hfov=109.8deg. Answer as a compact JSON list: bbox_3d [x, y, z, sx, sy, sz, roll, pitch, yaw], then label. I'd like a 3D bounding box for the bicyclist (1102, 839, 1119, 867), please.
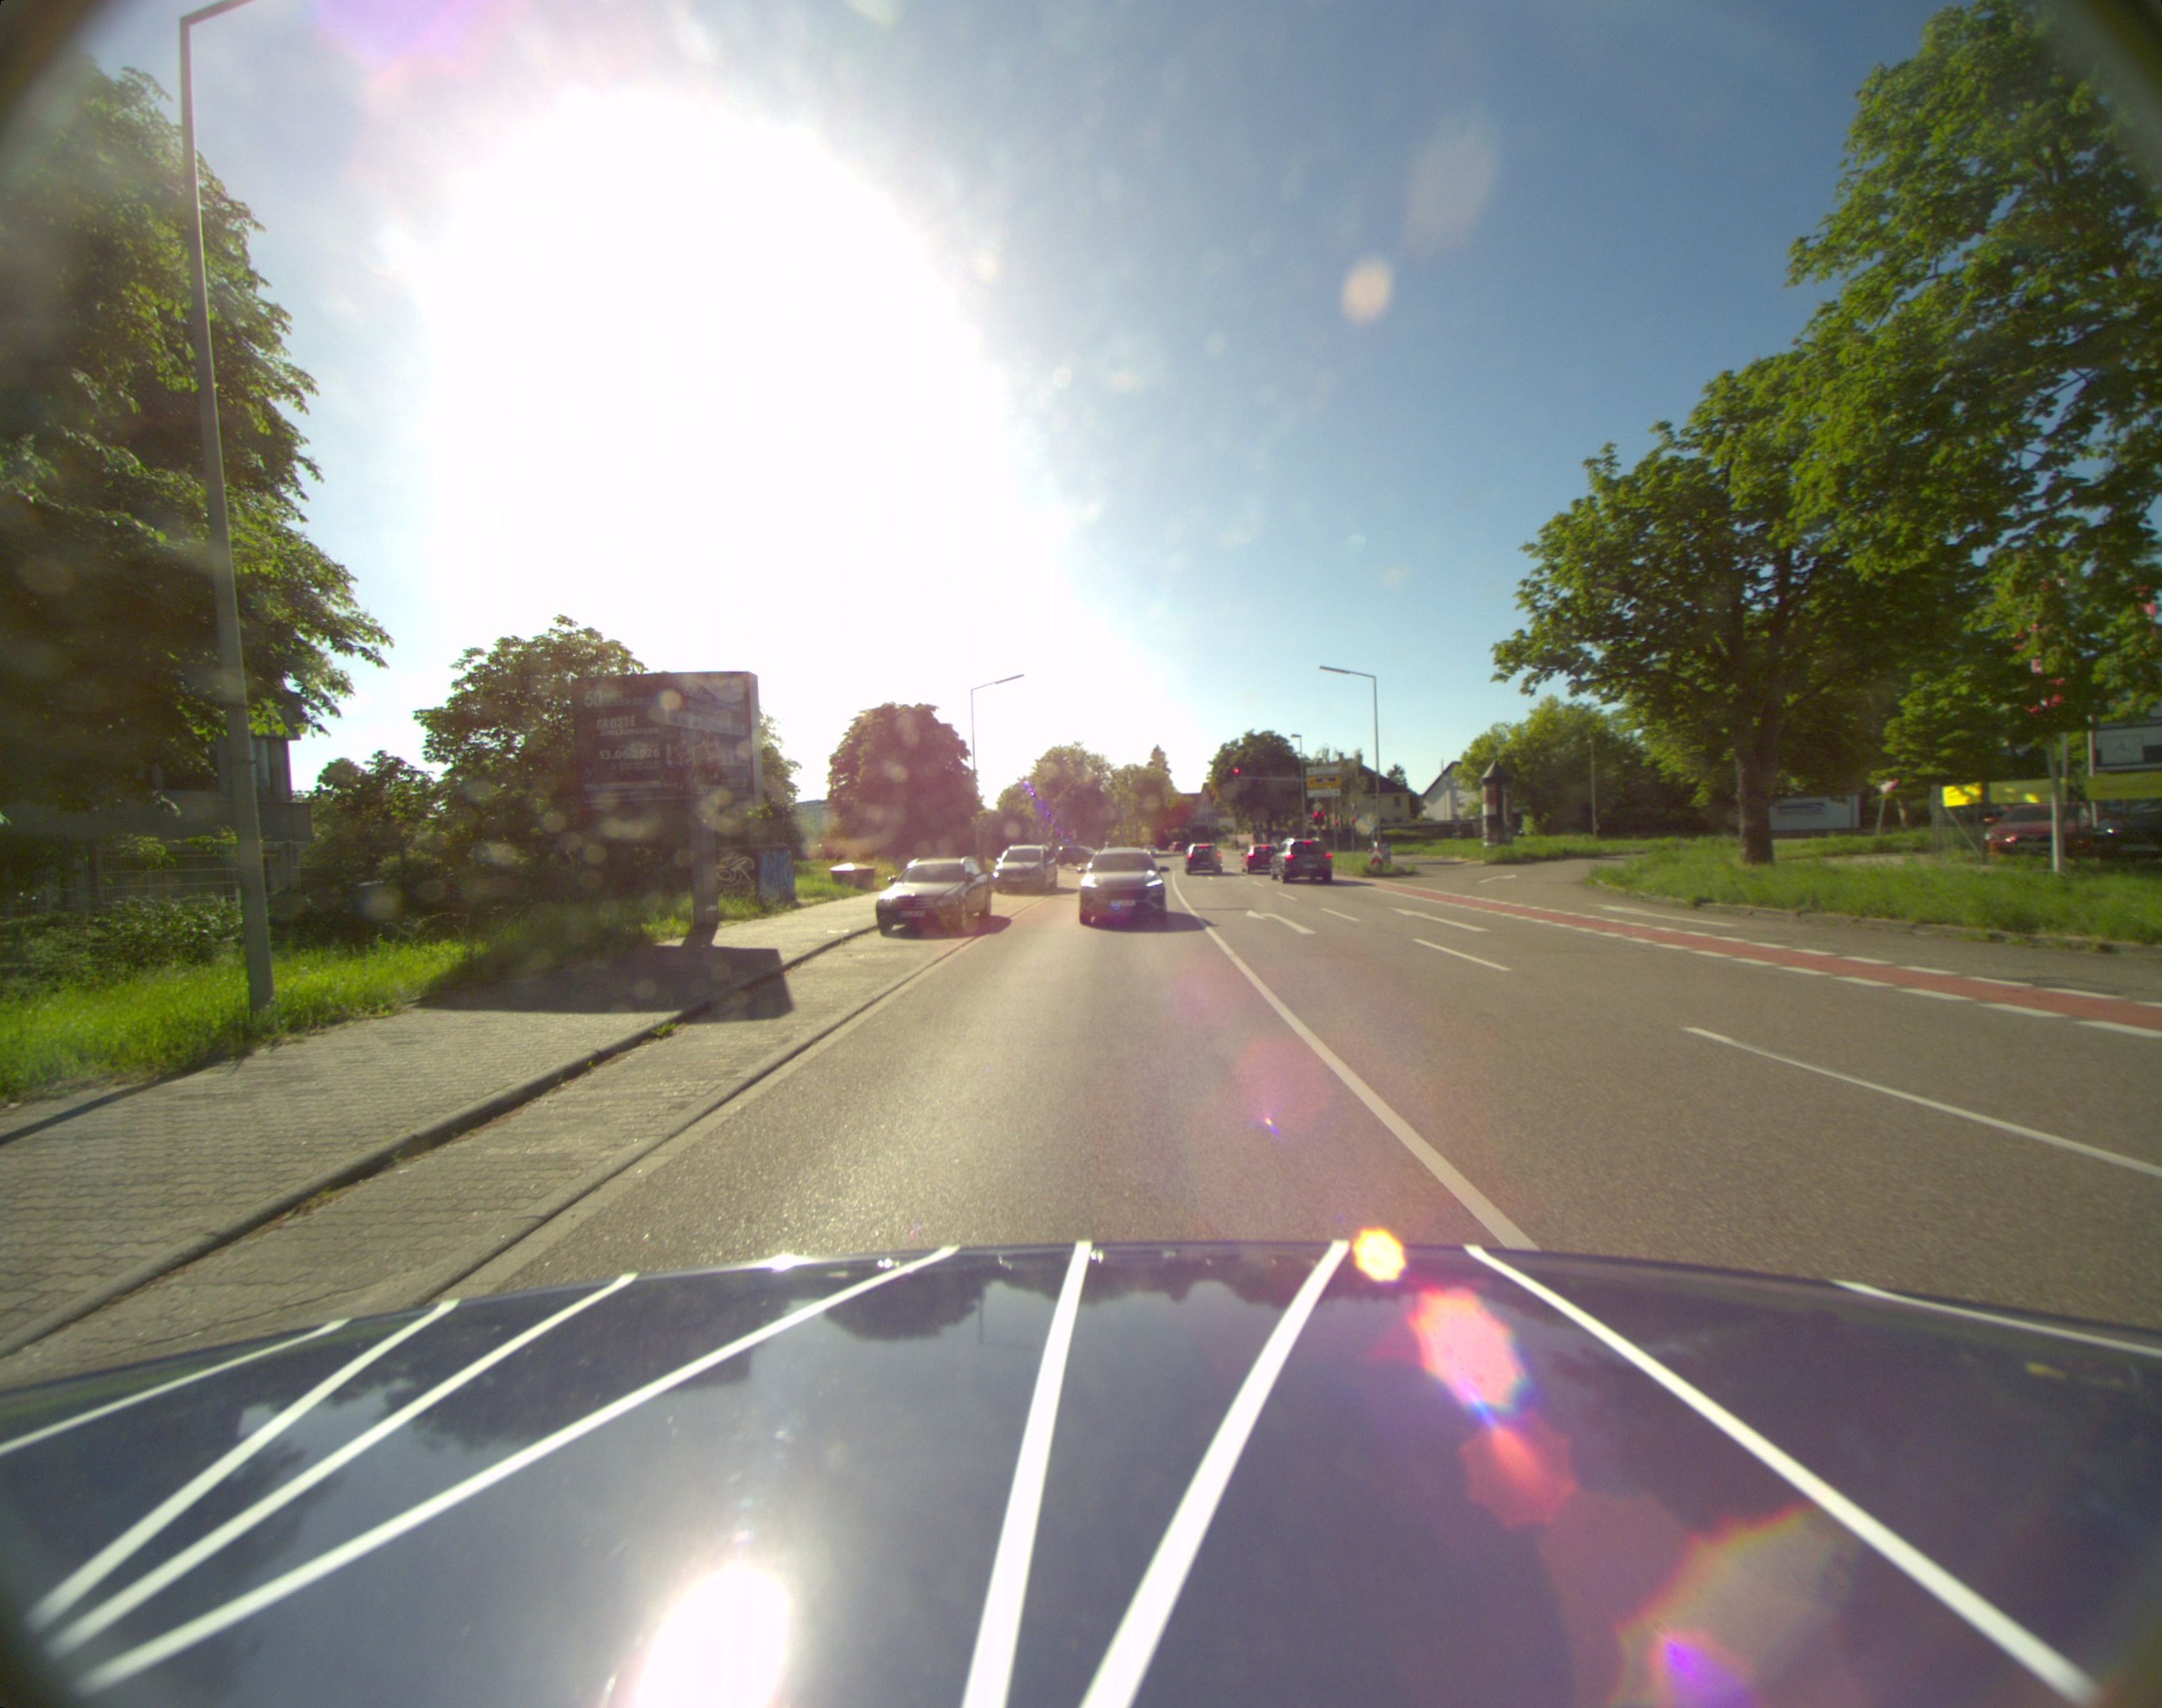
[{"bbox_3d":[1.603,-0.074,41.568,0.774,1.476,0.825,-3,1,-2],"label":"bicyclist"}]

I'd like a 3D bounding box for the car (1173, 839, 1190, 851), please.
[{"bbox_3d":[14.006,-1.258,105.644,1.860,1.461,4.142,-2,1,15],"label":"car"}]

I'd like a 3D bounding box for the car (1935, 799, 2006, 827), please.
[{"bbox_3d":[70.050,-3.169,59.927,1.996,2.002,4.005,-3,1,22],"label":"car"}]

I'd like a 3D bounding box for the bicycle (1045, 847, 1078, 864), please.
[{"bbox_3d":[-1.351,0.092,53.494,0.901,1.119,2.958,-2,1,27],"label":"bicycle"}]

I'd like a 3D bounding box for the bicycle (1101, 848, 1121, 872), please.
[{"bbox_3d":[1.614,0.299,41.732,0.795,1.219,3.212,-3,1,-2],"label":"bicycle"}]

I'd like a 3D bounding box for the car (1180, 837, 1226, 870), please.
[{"bbox_3d":[6.202,-0.046,38.924,1.917,1.590,4.000,-2,1,4],"label":"car"}]

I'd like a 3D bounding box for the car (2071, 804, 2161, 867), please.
[{"bbox_3d":[23.263,-0.453,15.775,3.935,1.233,2.041,-3,1,-17],"label":"car"}]

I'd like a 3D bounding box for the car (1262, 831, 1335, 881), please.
[{"bbox_3d":[8.458,0.066,29.893,1.856,1.726,4.271,-3,0,4],"label":"car"}]

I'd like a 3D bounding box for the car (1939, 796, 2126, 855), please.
[{"bbox_3d":[25.161,-0.767,20.065,5.067,1.302,2.355,-3,1,-30],"label":"car"}]

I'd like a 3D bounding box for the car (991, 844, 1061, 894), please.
[{"bbox_3d":[-2.022,0.496,29.178,1.876,1.712,4.613,0,1,6],"label":"car"}]

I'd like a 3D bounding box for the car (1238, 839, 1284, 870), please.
[{"bbox_3d":[8.956,-0.019,38.085,1.788,1.406,3.891,-2,1,7],"label":"car"}]

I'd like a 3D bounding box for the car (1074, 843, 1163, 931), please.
[{"bbox_3d":[0.951,0.626,17.062,1.714,1.636,4.056,-2,1,6],"label":"car"}]

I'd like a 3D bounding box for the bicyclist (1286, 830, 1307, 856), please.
[{"bbox_3d":[11.992,-0.603,42.251,0.935,1.394,0.823,-3,1,7],"label":"bicyclist"}]

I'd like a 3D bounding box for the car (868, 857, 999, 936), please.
[{"bbox_3d":[-3.114,0.839,17.050,1.812,1.411,4.424,-2,1,3],"label":"car"}]

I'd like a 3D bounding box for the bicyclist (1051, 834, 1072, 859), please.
[{"bbox_3d":[-1.375,-0.525,53.501,0.890,1.683,1.192,-2,1,27],"label":"bicyclist"}]
